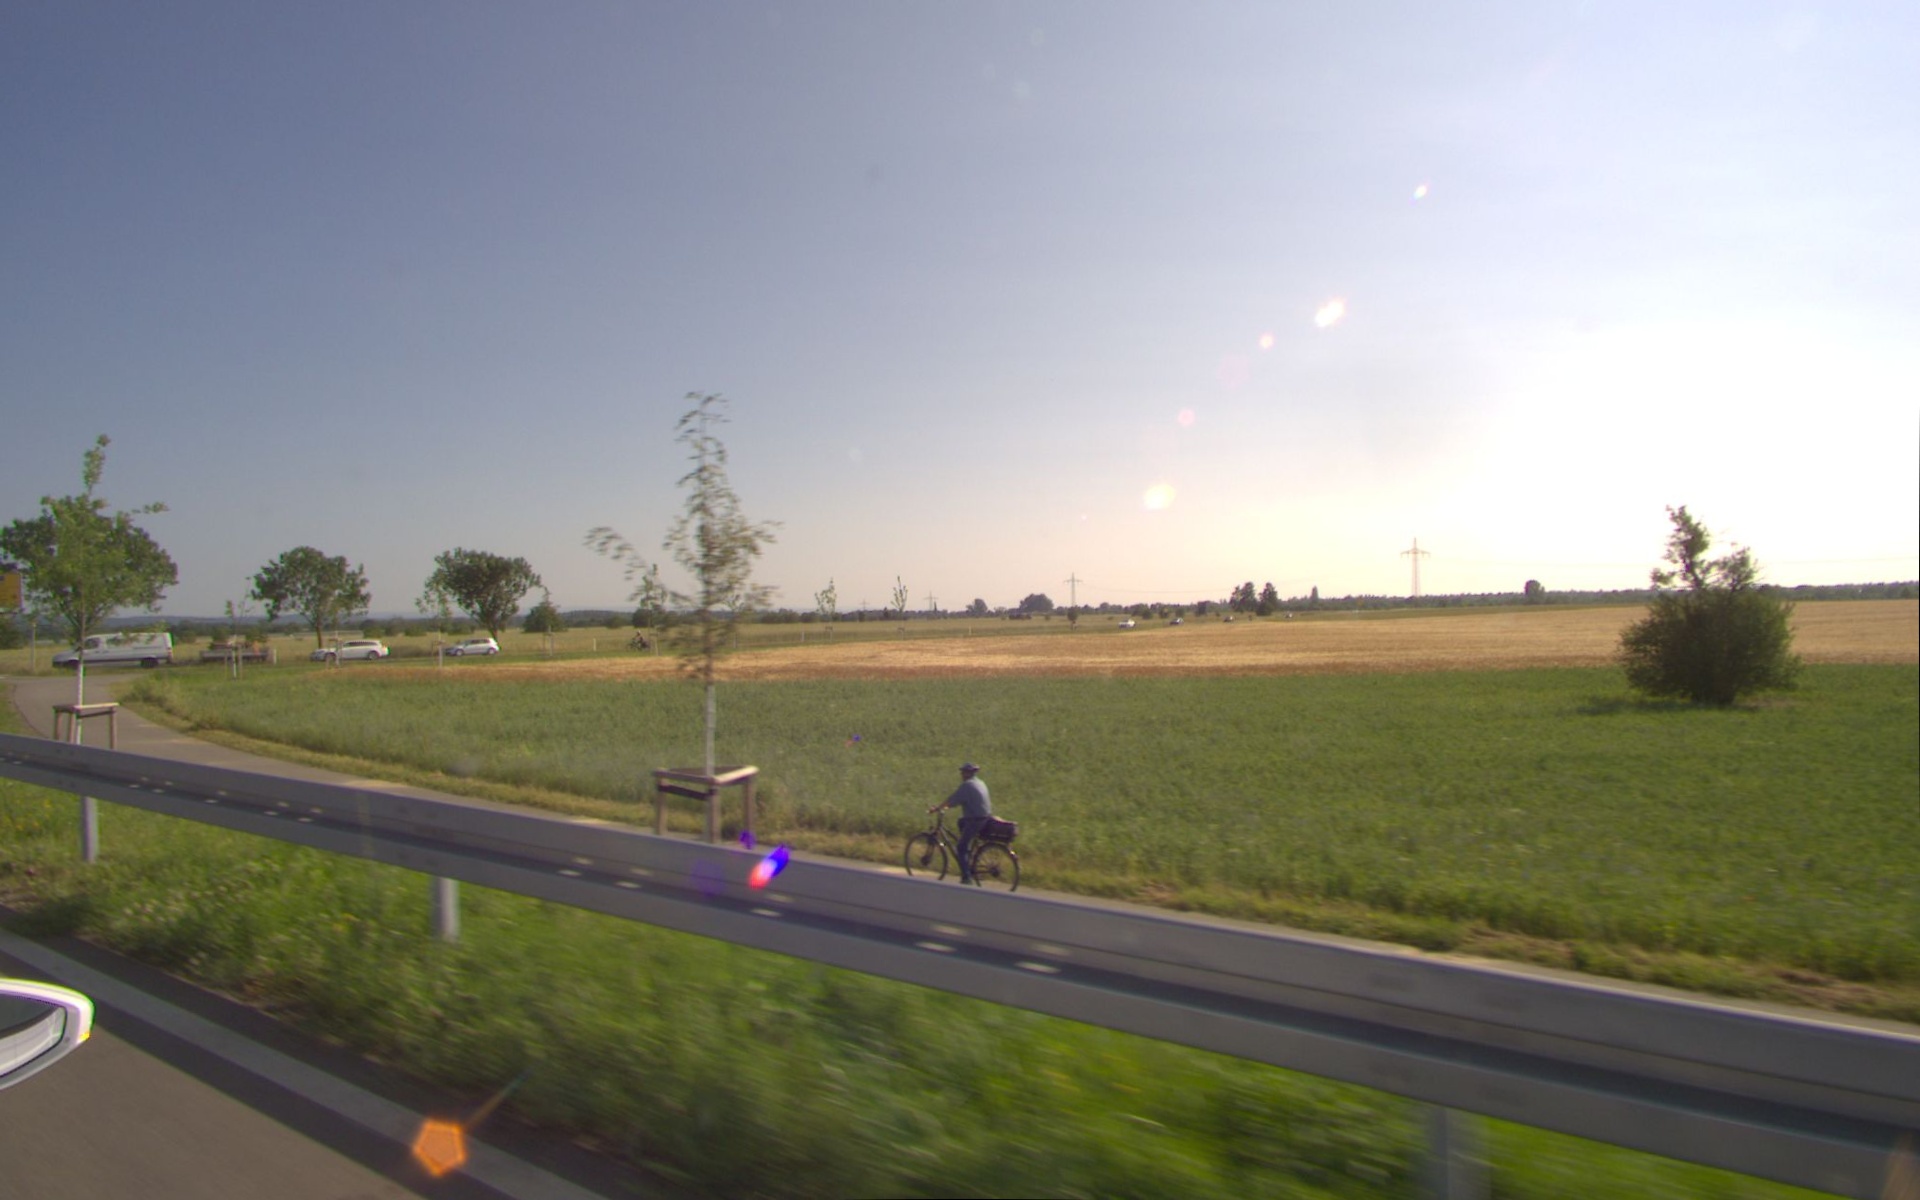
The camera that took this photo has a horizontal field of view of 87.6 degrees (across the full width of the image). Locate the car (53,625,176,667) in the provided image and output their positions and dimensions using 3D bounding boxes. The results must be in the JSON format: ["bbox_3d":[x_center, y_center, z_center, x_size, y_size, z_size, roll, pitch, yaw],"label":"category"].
[{"bbox_3d":[-53.884,2.929,63.956,5.915,2.523,1.983,2,-4,-42],"label":"car"}]

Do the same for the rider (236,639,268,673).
[{"bbox_3d":[-35.872,2.851,50.753,0.972,1.665,0.821,-1,1,2],"label":"rider"}]

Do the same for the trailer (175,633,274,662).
[{"bbox_3d":[-49.698,3.220,67.711,5.222,1.775,1.937,0,-2,-42],"label":"trailer"}]

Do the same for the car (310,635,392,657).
[{"bbox_3d":[-44.331,3.324,72.944,4.839,1.528,1.981,2,-4,-45],"label":"car"}]

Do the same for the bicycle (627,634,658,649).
[{"bbox_3d":[-25.415,3.327,80.142,2.142,1.201,0.881,1,-3,-45],"label":"bicycle"}]

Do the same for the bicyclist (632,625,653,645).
[{"bbox_3d":[-25.423,2.782,80.145,1.271,1.622,1.154,0,-1,-44],"label":"bicyclist"}]
